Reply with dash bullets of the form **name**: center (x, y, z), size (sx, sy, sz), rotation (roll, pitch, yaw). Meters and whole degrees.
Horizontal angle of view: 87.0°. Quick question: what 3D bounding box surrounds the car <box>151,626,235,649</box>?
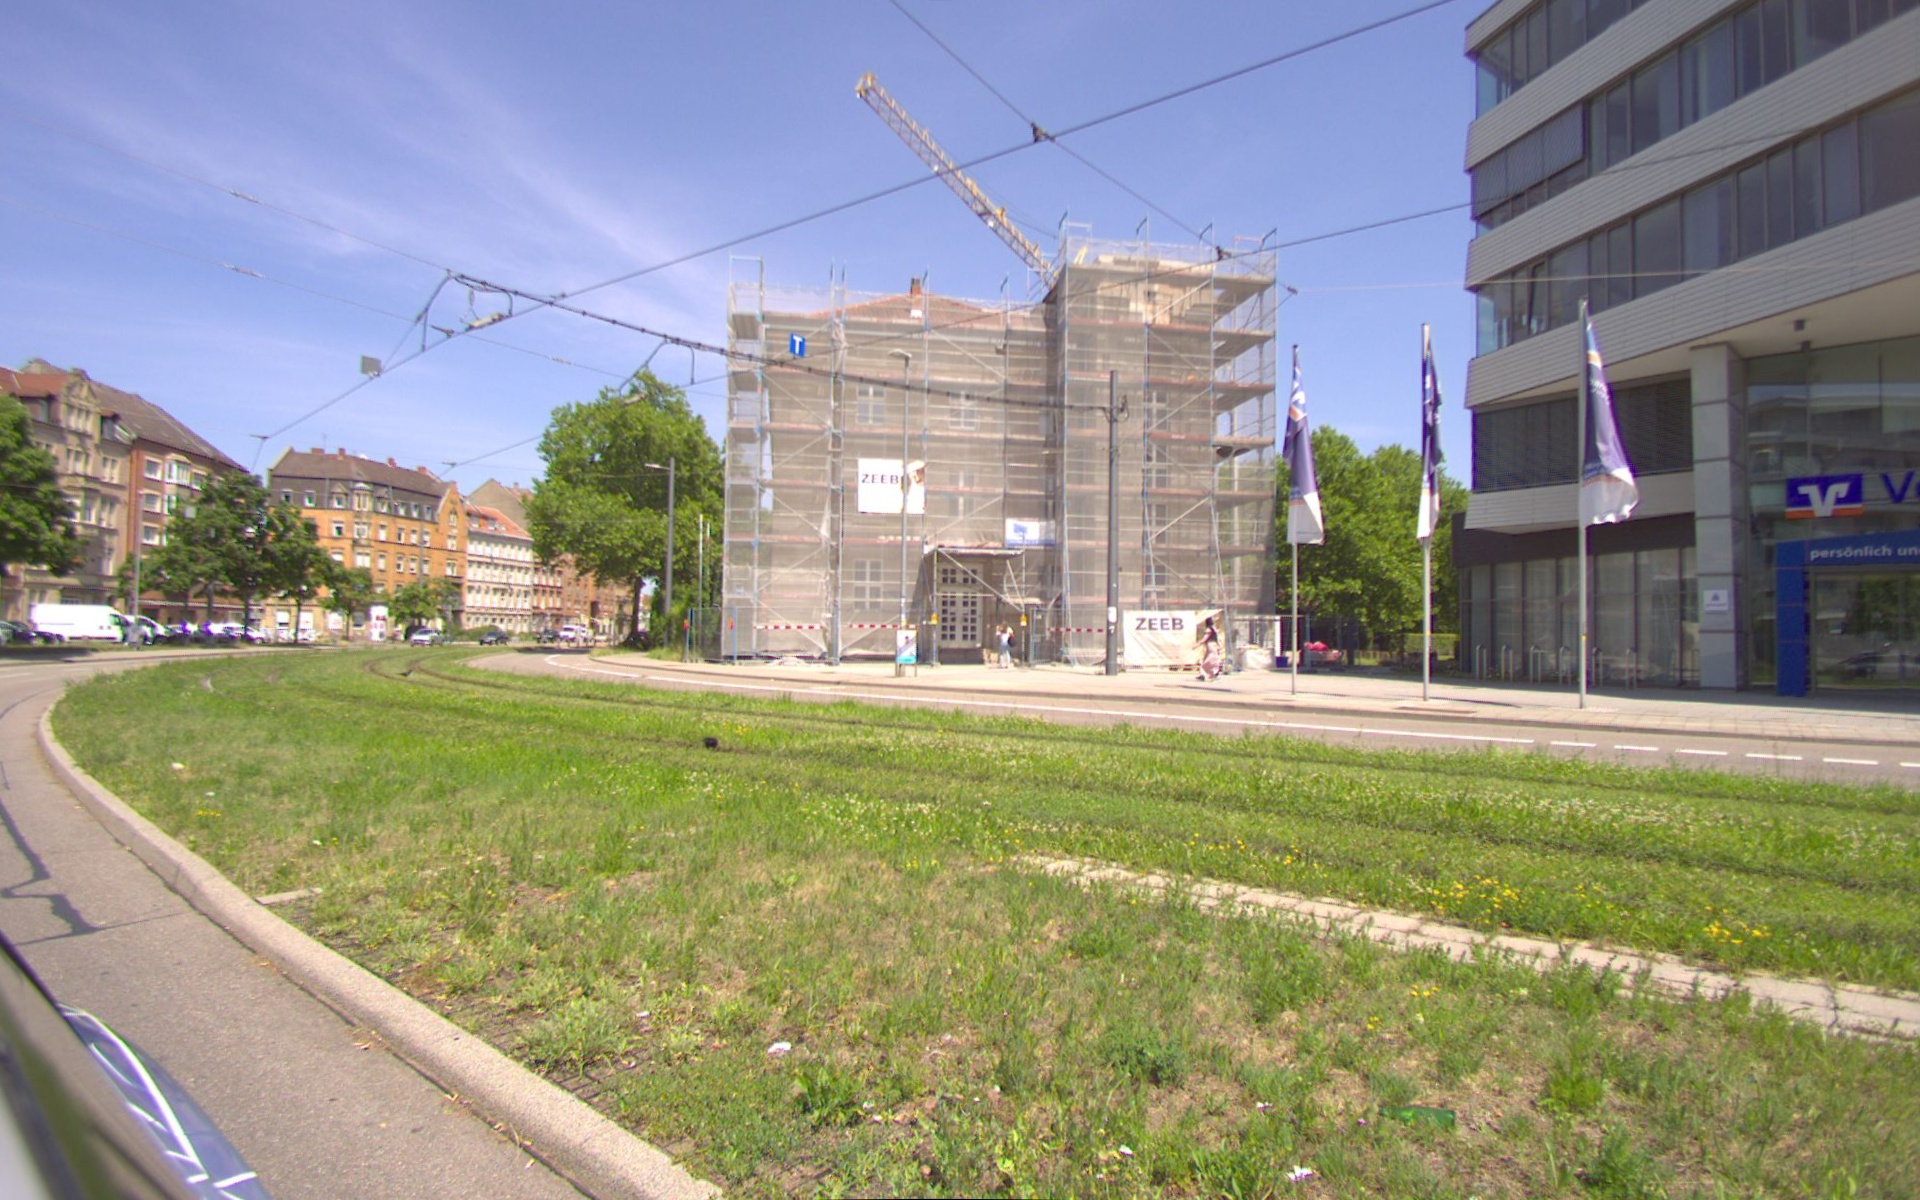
- **car**: center (-53.538, 2.619, 70.788), size (4.555, 1.508, 1.970), rotation (1, -2, -34)

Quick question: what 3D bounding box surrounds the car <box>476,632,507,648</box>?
- **car**: center (-46.560, 3.957, 100.597), size (1.773, 1.586, 4.007), rotation (0, -2, -9)

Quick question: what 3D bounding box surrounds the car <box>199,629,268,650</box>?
- **car**: center (-53.286, 2.895, 74.327), size (3.932, 1.410, 1.829), rotation (0, -2, -31)

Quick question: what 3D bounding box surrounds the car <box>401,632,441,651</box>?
- **car**: center (-44.538, 3.423, 83.704), size (1.773, 1.586, 4.007), rotation (0, -2, -9)

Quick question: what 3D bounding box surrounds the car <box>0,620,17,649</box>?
- **car**: center (-49.399, 1.698, 49.555), size (1.972, 1.438, 4.626), rotation (-3, -3, 43)

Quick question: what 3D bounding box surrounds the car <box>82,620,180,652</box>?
- **car**: center (-52.579, 2.267, 64.298), size (4.771, 1.988, 2.080), rotation (1, -3, -39)

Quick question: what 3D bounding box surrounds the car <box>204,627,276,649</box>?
- **car**: center (-54.683, 2.885, 76.980), size (4.338, 1.644, 2.006), rotation (1, -2, -32)

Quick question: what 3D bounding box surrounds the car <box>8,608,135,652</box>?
- **car**: center (-52.712, 1.778, 60.130), size (2.238, 2.479, 5.472), rotation (-3, -3, 43)

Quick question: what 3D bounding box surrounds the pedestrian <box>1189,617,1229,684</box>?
- **pedestrian**: center (6.312, 1.276, 25.637), size (0.908, 1.643, 0.744), rotation (-1, -2, 18)

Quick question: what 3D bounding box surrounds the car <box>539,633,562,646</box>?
- **car**: center (-48.221, 4.644, 119.157), size (1.772, 1.586, 4.009), rotation (0, -2, -12)

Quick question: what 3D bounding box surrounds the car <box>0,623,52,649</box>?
- **car**: center (-50.432, 1.905, 52.821), size (1.972, 1.349, 4.369), rotation (-3, -3, 43)

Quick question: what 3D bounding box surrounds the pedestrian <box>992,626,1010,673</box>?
- **pedestrian**: center (1.360, 1.621, 33.341), size (0.573, 1.530, 0.589), rotation (-1, -2, 4)
